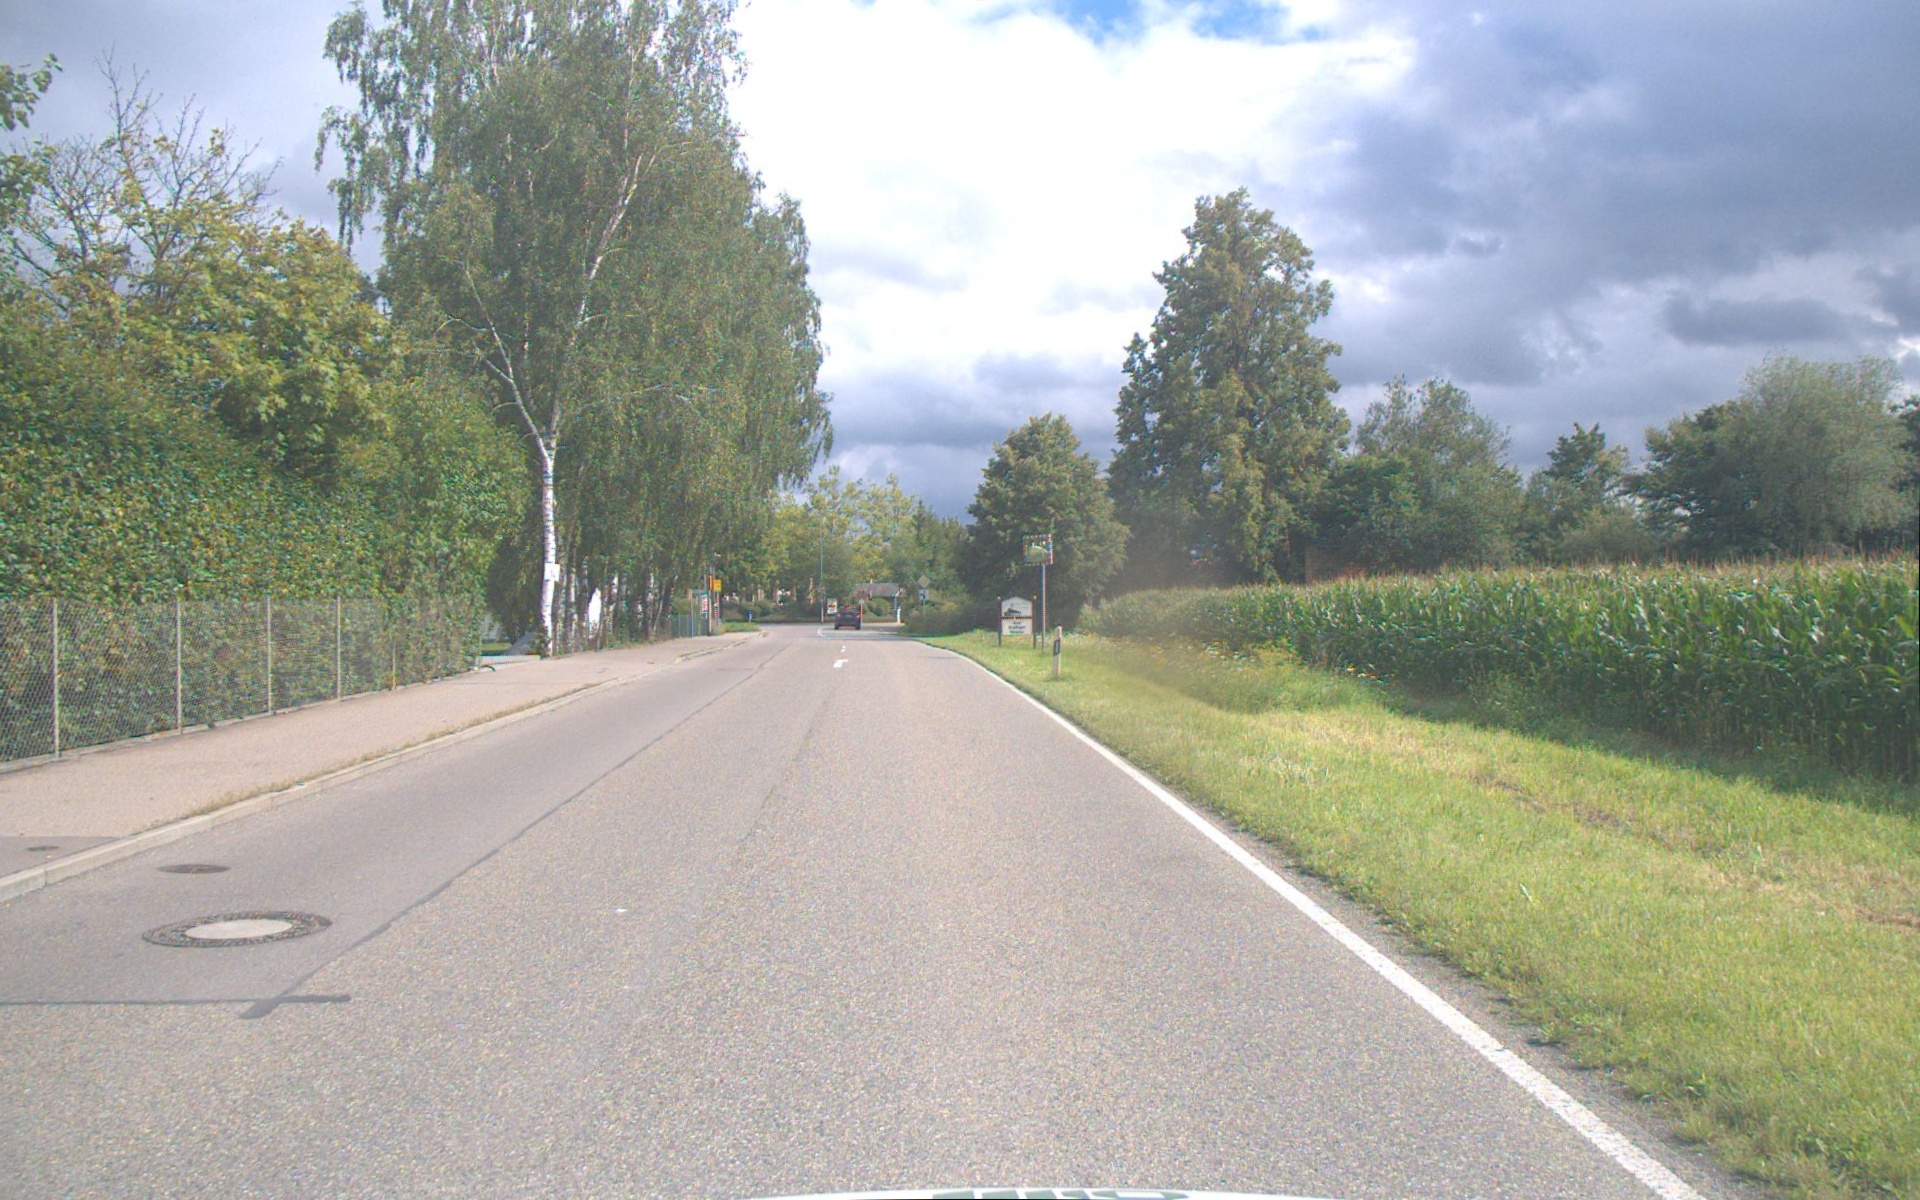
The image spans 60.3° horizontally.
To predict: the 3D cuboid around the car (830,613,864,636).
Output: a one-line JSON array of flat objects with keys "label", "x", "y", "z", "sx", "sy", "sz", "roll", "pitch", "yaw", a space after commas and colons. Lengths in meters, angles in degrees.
[{"label": "car", "x": -8.398, "y": 1.795, "z": 123.011, "sx": 1.959, "sy": 1.613, "sz": 3.987, "roll": 0, "pitch": 0, "yaw": -13}]
